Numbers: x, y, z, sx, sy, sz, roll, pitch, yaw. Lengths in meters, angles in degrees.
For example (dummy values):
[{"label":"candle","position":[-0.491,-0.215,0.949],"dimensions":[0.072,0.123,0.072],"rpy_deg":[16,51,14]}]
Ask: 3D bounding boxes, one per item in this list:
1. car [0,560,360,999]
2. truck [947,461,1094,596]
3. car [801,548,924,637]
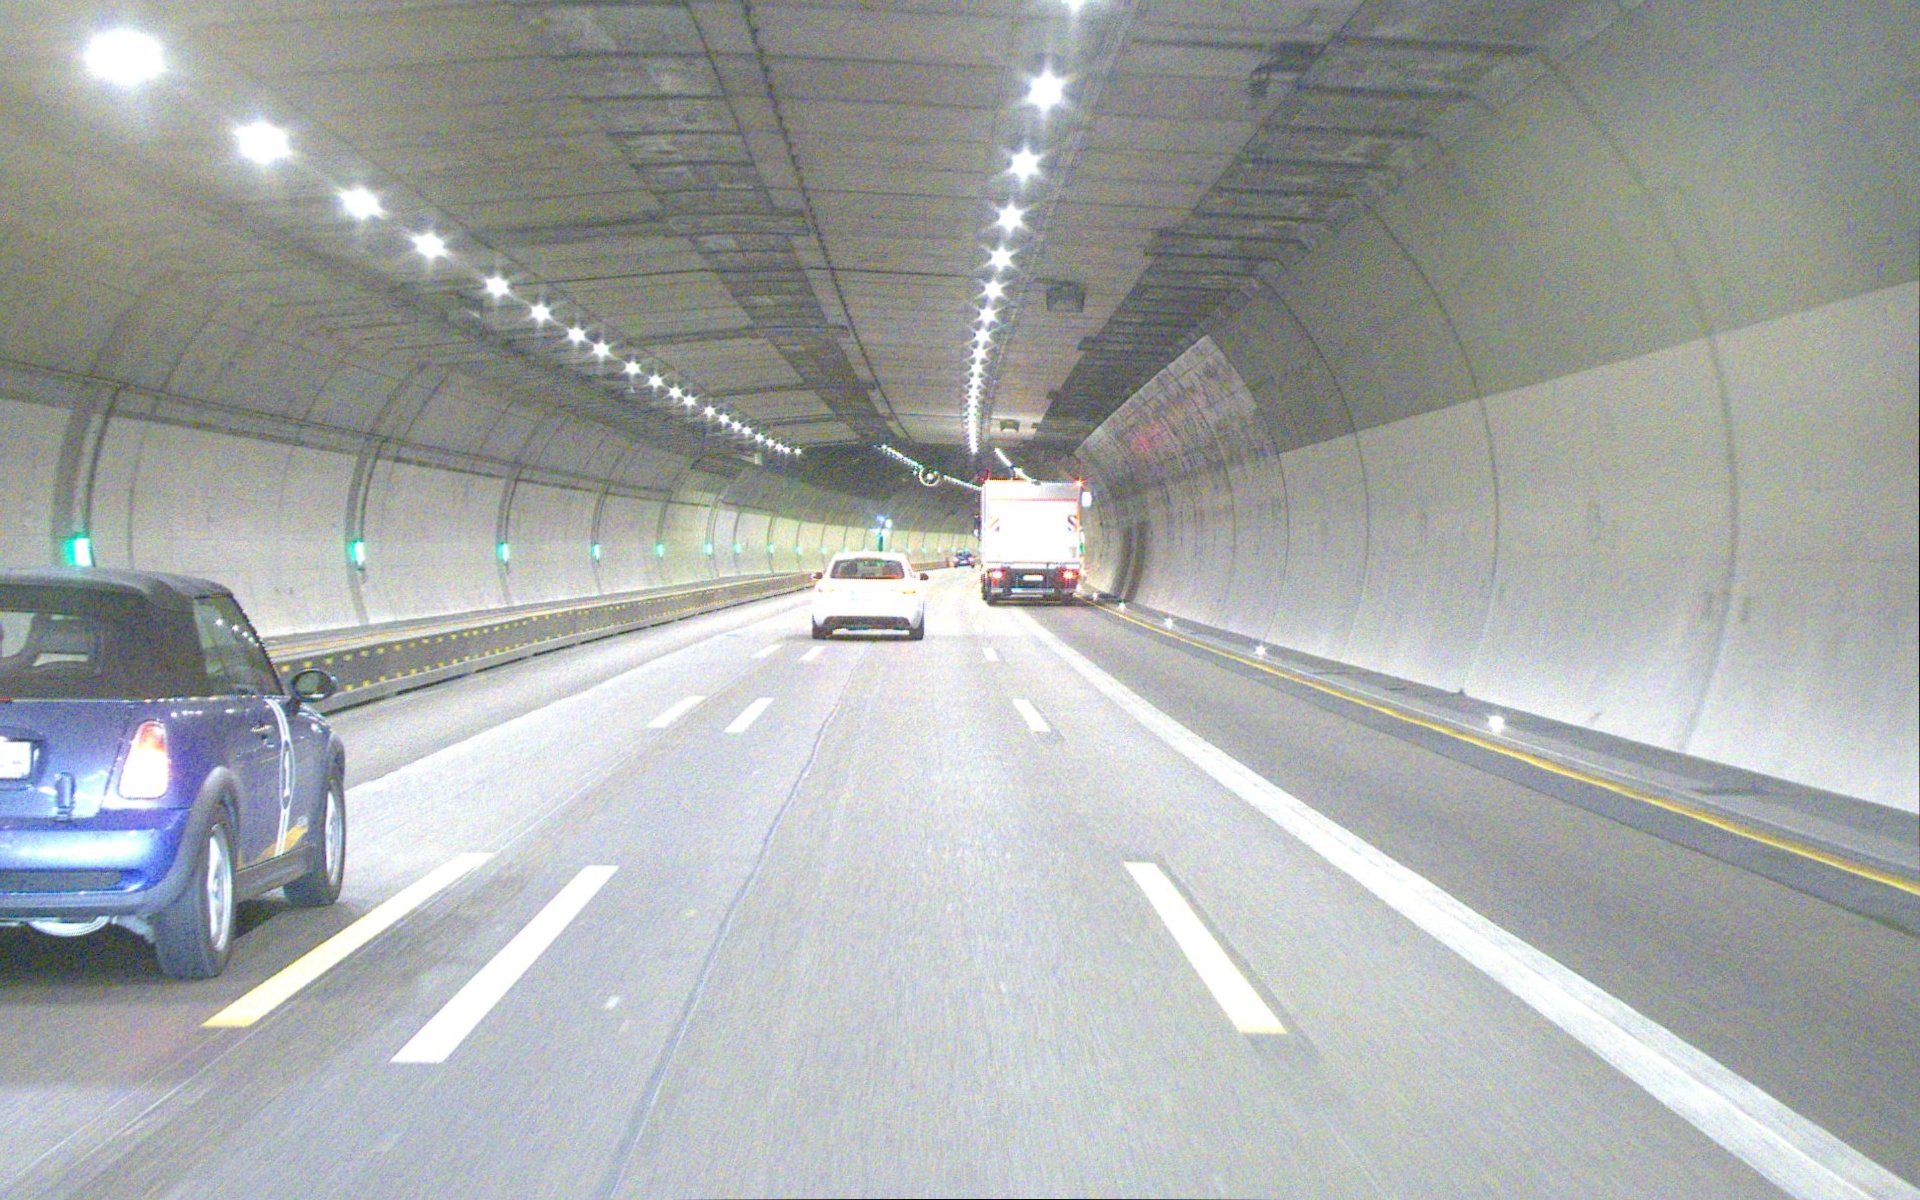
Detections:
[{"label":"car","position":[-3.436,0.566,13.223],"dimensions":[1.689,1.412,3.923],"rpy_deg":[0,1,-2]},{"label":"truck","position":[1.605,-2.024,97.618],"dimensions":[3.592,3.638,10.723],"rpy_deg":[0,1,-2]},{"label":"car","position":[-1.654,-0.159,57.943],"dimensions":[1.993,1.408,4.743],"rpy_deg":[0,1,-2]}]
